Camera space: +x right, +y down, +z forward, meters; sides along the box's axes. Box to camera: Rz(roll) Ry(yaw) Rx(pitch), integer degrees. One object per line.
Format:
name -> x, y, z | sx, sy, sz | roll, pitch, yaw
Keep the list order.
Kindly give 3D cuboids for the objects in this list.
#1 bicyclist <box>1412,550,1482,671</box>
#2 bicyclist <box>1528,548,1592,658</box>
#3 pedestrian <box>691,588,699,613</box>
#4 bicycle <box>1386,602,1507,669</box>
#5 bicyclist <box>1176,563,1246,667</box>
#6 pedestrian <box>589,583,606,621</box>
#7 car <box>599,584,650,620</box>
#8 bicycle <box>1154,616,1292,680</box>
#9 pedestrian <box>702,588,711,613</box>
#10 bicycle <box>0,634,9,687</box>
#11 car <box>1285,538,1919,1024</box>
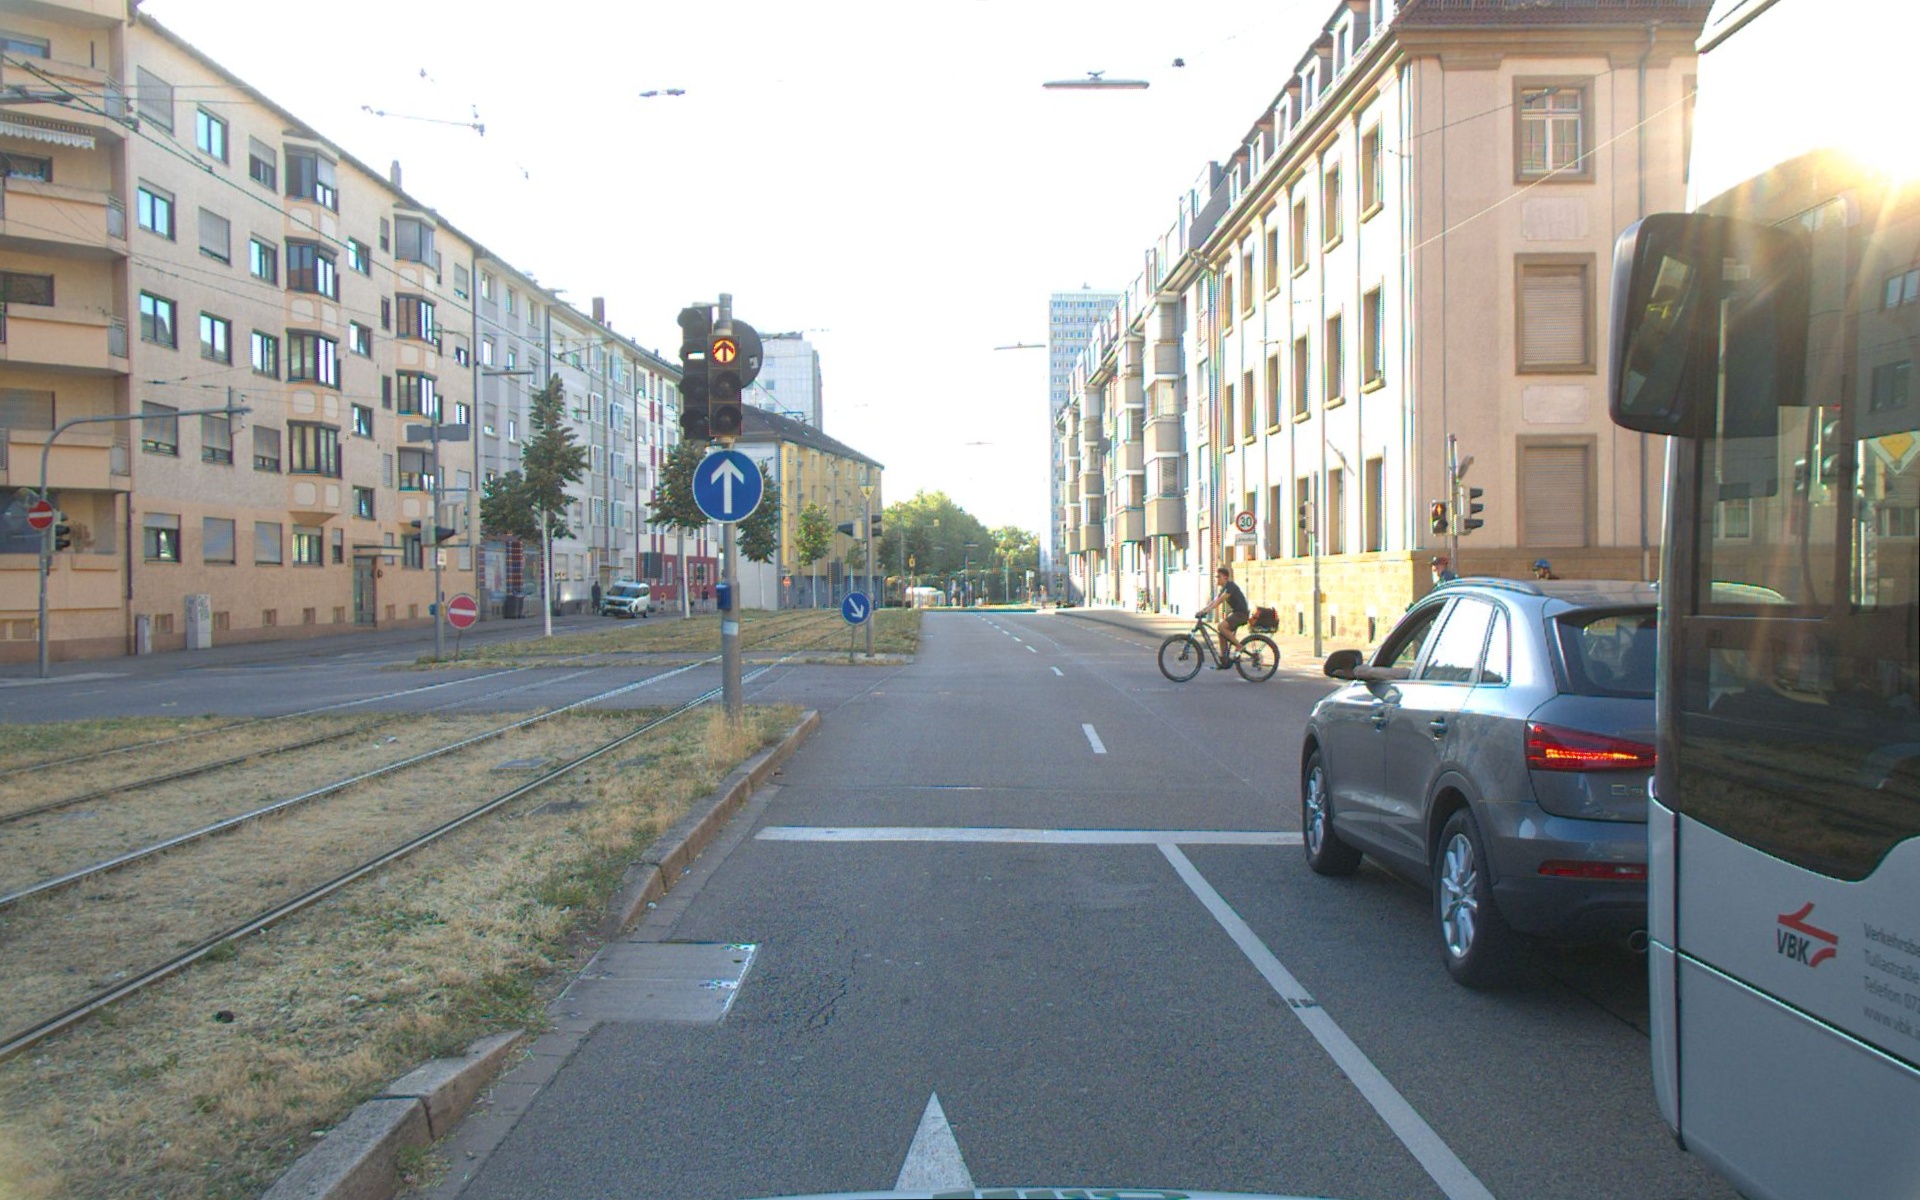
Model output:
bicyclist -> 8.268, 0.176, 28.111 | 0.940, 2.023, 0.672 | -1, 0, -3
bicyclist -> 9.979, 0.054, 27.526 | 0.777, 1.784, 0.720 | 1, -1, -3
pedestrian -> -17.917, 0.044, 111.774 | 0.485, 1.687, 0.408 | -1, 0, 0
bicycle -> 8.261, 0.595, 28.105 | 1.905, 1.113, 0.575 | 0, 0, -4
bicyclist -> 3.860, 0.226, 25.448 | 0.887, 1.553, 0.646 | -1, 0, -11
pedestrian -> -19.544, 0.121, 89.245 | 0.771, 2.049, 0.890 | -1, 0, -4
car -> -17.632, 0.113, 87.080 | 1.774, 1.829, 4.245 | 1, 0, 1
bicycle -> 4.031, 0.727, 25.411 | 1.943, 0.909, 0.784 | -2, 0, -11
pedestrian -> -17.180, 0.030, 112.078 | 0.485, 1.687, 0.408 | -1, 0, 0
bicycle -> -18.868, 1.166, 30.937 | 0.518, 1.001, 1.880 | -1, 0, 29
car -> 2.788, 0.585, 7.581 | 1.734, 1.603, 4.085 | -1, 0, -1
